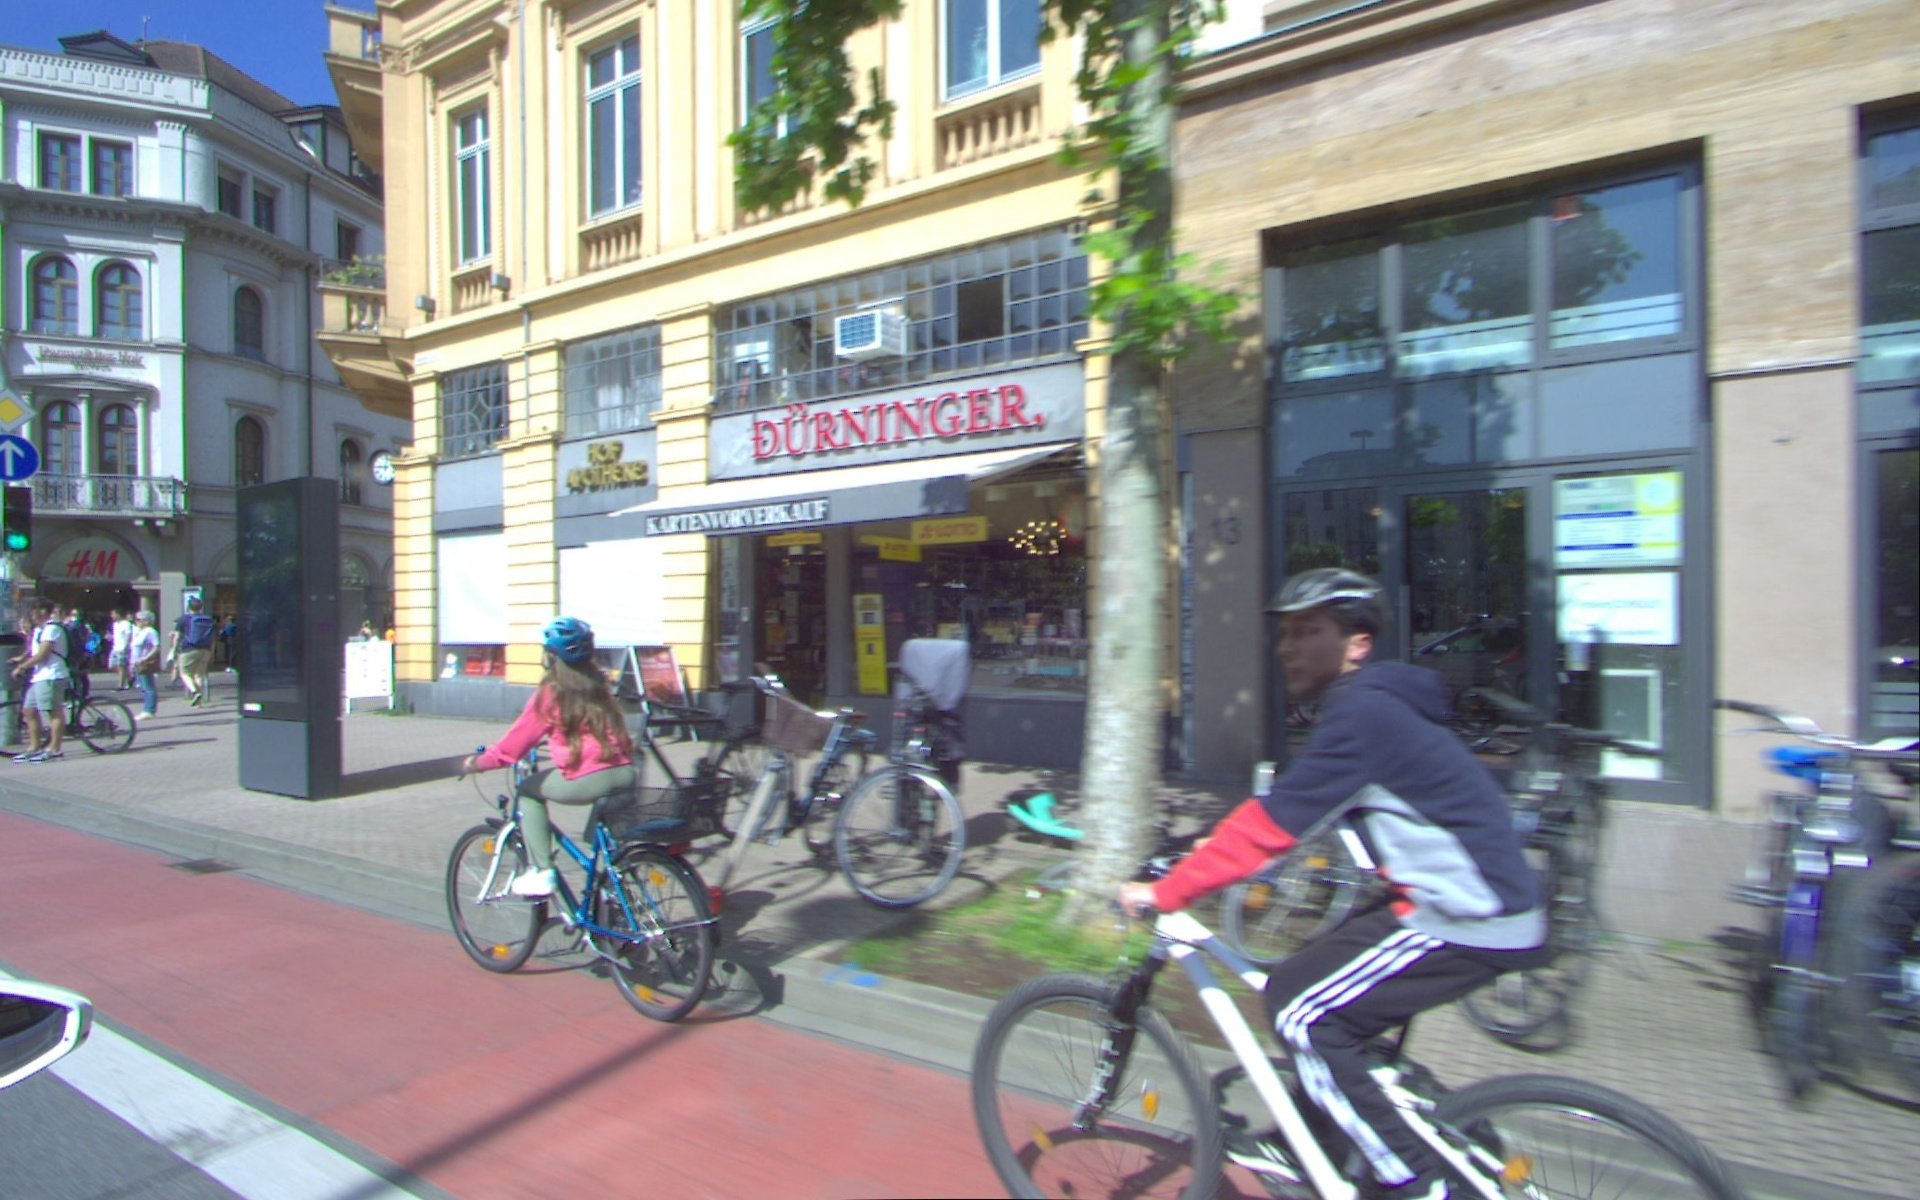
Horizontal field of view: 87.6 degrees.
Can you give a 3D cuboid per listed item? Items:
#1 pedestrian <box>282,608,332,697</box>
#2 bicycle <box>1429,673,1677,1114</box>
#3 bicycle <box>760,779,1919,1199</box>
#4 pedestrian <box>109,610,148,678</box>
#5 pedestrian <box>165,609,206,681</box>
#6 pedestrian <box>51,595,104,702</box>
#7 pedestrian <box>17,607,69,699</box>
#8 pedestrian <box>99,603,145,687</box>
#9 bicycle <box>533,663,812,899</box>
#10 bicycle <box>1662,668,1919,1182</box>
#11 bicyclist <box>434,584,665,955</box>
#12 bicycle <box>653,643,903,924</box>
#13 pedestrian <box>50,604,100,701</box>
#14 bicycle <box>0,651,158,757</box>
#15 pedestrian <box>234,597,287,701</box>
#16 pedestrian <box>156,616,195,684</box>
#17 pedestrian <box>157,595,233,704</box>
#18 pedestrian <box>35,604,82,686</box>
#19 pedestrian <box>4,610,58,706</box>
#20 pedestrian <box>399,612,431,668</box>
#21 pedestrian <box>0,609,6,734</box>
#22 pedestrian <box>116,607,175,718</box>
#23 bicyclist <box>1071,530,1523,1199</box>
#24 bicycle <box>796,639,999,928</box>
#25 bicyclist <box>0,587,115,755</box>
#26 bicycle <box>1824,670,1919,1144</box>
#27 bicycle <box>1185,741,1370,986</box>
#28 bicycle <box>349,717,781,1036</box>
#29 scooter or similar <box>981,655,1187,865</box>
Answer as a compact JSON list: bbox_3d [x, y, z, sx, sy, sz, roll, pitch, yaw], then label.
[{"bbox_3d":[-11.982,0.952,18.397,0.578,1.590,0.550,-1,0,-12],"label":"pedestrian"},{"bbox_3d":[2.297,0.907,3.813,0.650,1.179,1.839,0,-1,34],"label":"bicycle"},{"bbox_3d":[0.593,1.077,2.174,2.049,1.141,0.698,-1,-2,29],"label":"bicycle"},{"bbox_3d":[-22.193,1.168,26.731,0.668,1.786,0.609,-1,-1,30],"label":"pedestrian"},{"bbox_3d":[-18.867,1.094,24.390,0.667,1.738,0.540,-1,-1,28],"label":"pedestrian"},{"bbox_3d":[-15.572,0.848,17.670,0.632,1.847,0.521,-1,0,32],"label":"pedestrian"},{"bbox_3d":[-16.691,0.954,18.230,0.632,1.630,0.521,-1,0,32],"label":"pedestrian"},{"bbox_3d":[-19.098,1.013,22.823,0.534,1.879,0.675,-1,-1,30],"label":"pedestrian"},{"bbox_3d":[-1.672,0.999,6.134,0.554,1.137,1.780,0,0,29],"label":"bicycle"},{"bbox_3d":[2.759,0.873,3.379,0.600,1.216,1.839,0,-1,34],"label":"bicycle"},{"bbox_3d":[-1.702,0.644,4.169,0.711,1.375,0.599,-1,-1,33],"label":"bicyclist"},{"bbox_3d":[-0.927,0.897,5.689,0.692,1.273,1.938,0,-1,13],"label":"bicycle"},{"bbox_3d":[-15.997,0.941,18.104,0.528,1.725,0.521,-1,0,32],"label":"pedestrian"},{"bbox_3d":[-10.179,1.160,11.238,1.804,1.097,0.602,-1,1,-3],"label":"bicycle"},{"bbox_3d":[-12.477,0.862,17.873,0.578,1.825,0.550,-1,0,-12],"label":"pedestrian"},{"bbox_3d":[-19.470,1.240,24.853,0.668,1.654,0.539,-1,-1,30],"label":"pedestrian"},{"bbox_3d":[-13.224,0.864,17.314,1.216,1.812,0.656,-3,-2,32],"label":"pedestrian"},{"bbox_3d":[-20.506,1.022,22.777,0.668,1.830,0.609,-1,-1,30],"label":"pedestrian"},{"bbox_3d":[-16.135,0.990,17.390,0.632,1.633,0.521,-1,0,32],"label":"pedestrian"},{"bbox_3d":[-17.262,1.255,31.729,0.664,1.738,0.542,1,-1,2],"label":"pedestrian"},{"bbox_3d":[-13.020,0.949,13.183,0.581,1.652,0.547,-1,0,35],"label":"pedestrian"},{"bbox_3d":[-12.570,0.944,15.454,0.581,1.661,0.547,-1,0,35],"label":"pedestrian"},{"bbox_3d":[0.731,0.635,2.112,0.778,1.459,0.698,0,-2,29],"label":"bicyclist"},{"bbox_3d":[-0.268,0.891,5.635,0.676,1.325,1.826,0,-1,12],"label":"bicycle"},{"bbox_3d":[-10.181,0.771,11.228,0.840,1.822,0.575,-1,2,-3],"label":"bicyclist"},{"bbox_3d":[3.161,0.859,3.081,0.537,1.216,1.839,0,-1,34],"label":"bicycle"},{"bbox_3d":[1.445,1.154,4.838,0.646,0.725,1.849,0,-2,11],"label":"bicycle"},{"bbox_3d":[-1.713,1.022,4.179,2.058,0.937,0.599,-1,-1,33],"label":"bicycle"},{"bbox_3d":[0.764,0.948,6.138,1.208,1.193,0.422,0,-1,12],"label":"scooter or similar"}]
